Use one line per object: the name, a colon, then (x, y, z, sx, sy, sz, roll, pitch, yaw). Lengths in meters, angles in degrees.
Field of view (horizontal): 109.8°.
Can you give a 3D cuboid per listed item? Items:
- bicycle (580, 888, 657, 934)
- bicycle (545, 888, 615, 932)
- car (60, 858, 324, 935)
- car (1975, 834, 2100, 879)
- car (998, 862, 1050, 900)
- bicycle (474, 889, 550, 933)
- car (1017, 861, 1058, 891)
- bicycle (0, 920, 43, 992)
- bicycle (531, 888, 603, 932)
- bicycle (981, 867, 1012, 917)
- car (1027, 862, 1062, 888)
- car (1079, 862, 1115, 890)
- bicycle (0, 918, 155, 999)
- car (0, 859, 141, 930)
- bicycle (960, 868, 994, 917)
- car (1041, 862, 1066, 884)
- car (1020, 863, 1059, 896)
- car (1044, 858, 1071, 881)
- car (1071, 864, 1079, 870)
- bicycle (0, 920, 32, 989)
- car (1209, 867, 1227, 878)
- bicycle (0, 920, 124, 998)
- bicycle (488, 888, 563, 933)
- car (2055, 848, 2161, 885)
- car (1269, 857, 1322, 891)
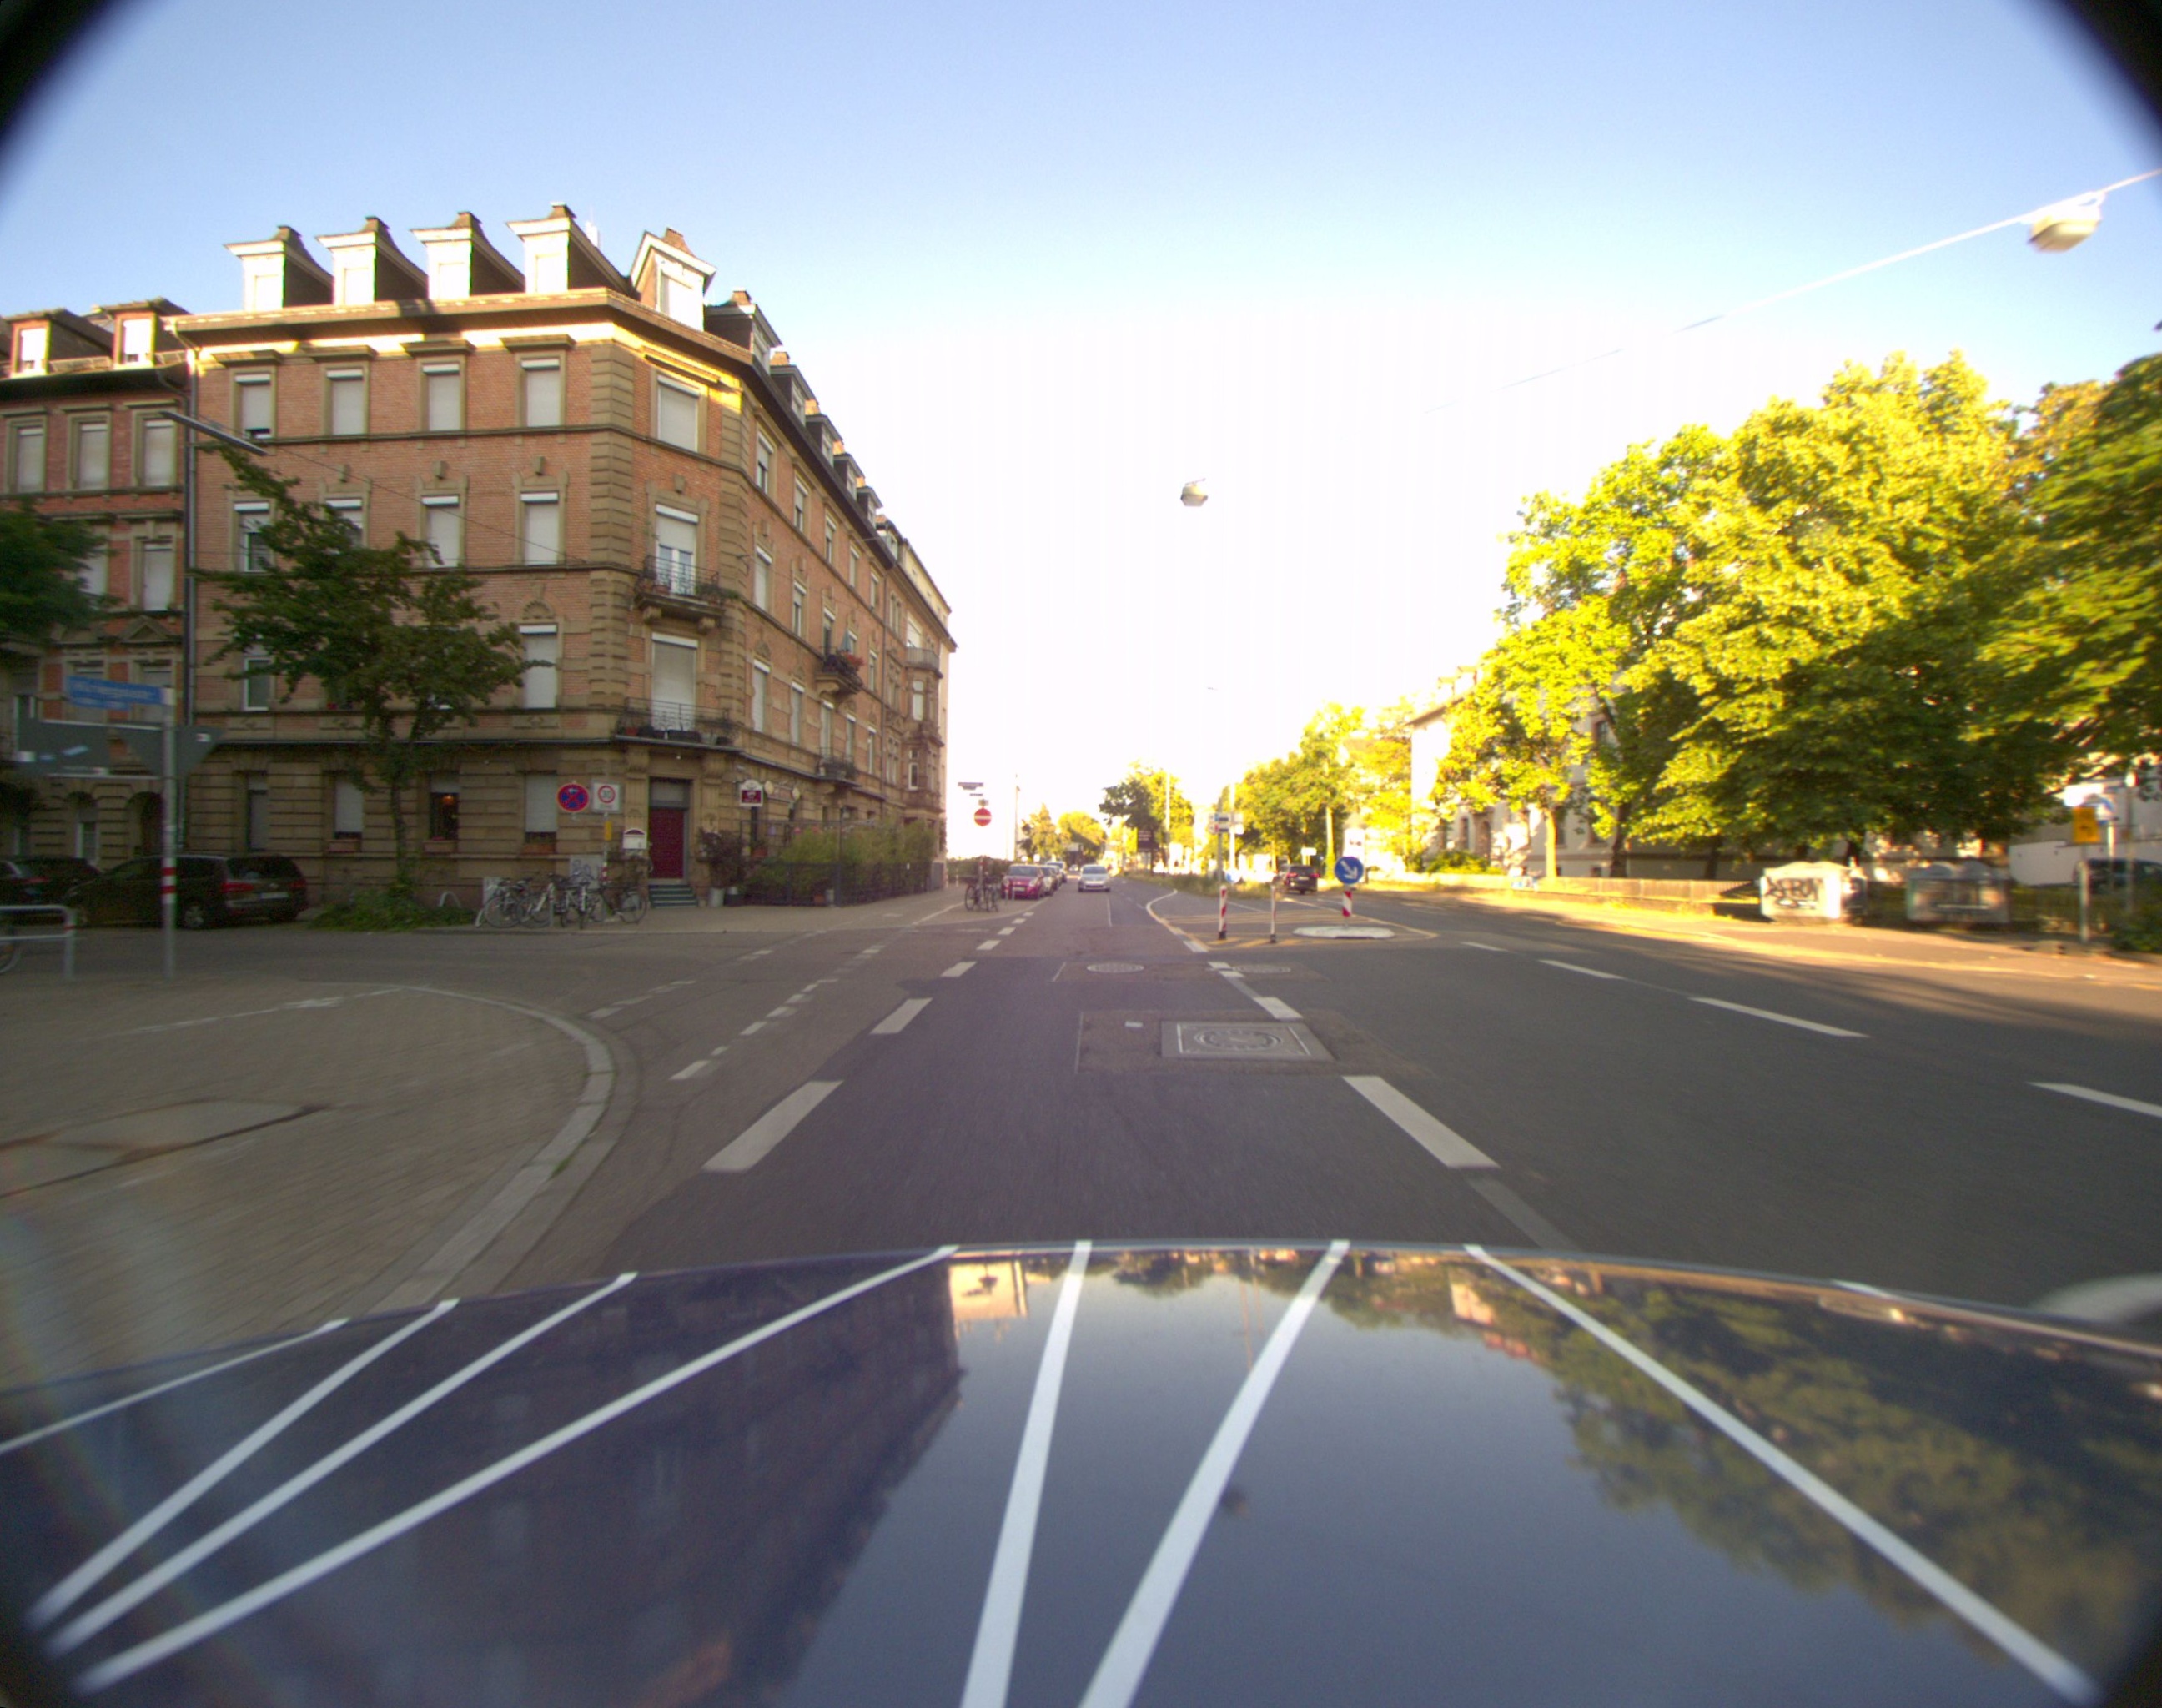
bicycle: (-9.911, 1.207, 16.343, 0.295, 0.812, 1.736, -1, 2, 10)
bicycle: (-10.886, 1.201, 16.564, 0.295, 0.812, 1.498, -1, 2, 10)
car: (-19.625, 0.895, 16.873, 3.995, 1.597, 1.849, 0, 0, 6)
car: (41.071, 0.119, 32.735, 1.865, 1.812, 3.259, -2, 0, -40)
car: (-2.379, 1.121, 32.625, 1.730, 1.456, 3.547, 3, 0, 2)
bicycle: (-12.371, 1.227, 16.568, 0.295, 0.812, 1.498, -1, 2, 10)
car: (-2.330, 1.174, 42.138, 1.892, 1.418, 4.342, 3, 0, 1)
bicycle: (-12.636, 1.152, 8.310, 0.295, 0.812, 1.500, -2, -3, 13)
bicycle: (-11.199, 1.206, 16.610, 0.295, 0.812, 1.498, -1, 2, 10)
bicycle: (-2.499, 1.101, 22.684, 0.567, 1.292, 2.264, 4, 1, 1)
car: (-2.214, 1.282, 47.428, 1.892, 1.439, 4.464, 3, 0, 0)
car: (0.839, 1.194, 41.967, 1.895, 1.454, 3.966, 1, -1, 0)
bicycle: (-11.390, 1.136, 8.452, 0.292, 0.812, 1.498, -2, -3, 2)
car: (-24.482, 0.883, 17.377, 3.995, 1.513, 1.849, 0, 0, 6)
bicycle: (-3.081, 1.110, 22.686, 0.567, 1.268, 2.264, 4, 1, 1)
car: (-1.986, 1.366, 56.686, 1.705, 1.479, 3.892, 3, 0, -1)
car: (-2.001, 1.211, 37.294, 1.681, 1.418, 3.676, 3, 0, -1)
car: (-2.066, 1.369, 67.811, 1.892, 1.907, 5.180, 3, 0, 2)
car: (-1.568, 3.308, 196.975, 1.948, 1.514, 4.163, 1, -1, -1)
bicycle: (-13.044, 1.172, 8.570, 0.295, 0.812, 1.498, -2, -3, 2)
car: (18.303, 2.436, 101.724, 1.778, 1.266, 4.008, 3, 0, 1)
bicycle: (-11.755, 1.161, 8.439, 0.292, 0.812, 1.498, -2, -3, 2)
bicycle: (-12.050, 1.215, 16.533, 0.295, 0.812, 1.498, -1, 2, 10)
car: (53.422, 0.624, 38.852, 4.102, 1.817, 1.966, 0, 0, 41)
car: (11.761, 1.057, 41.888, 1.880, 1.696, 4.569, 3, 0, 5)
